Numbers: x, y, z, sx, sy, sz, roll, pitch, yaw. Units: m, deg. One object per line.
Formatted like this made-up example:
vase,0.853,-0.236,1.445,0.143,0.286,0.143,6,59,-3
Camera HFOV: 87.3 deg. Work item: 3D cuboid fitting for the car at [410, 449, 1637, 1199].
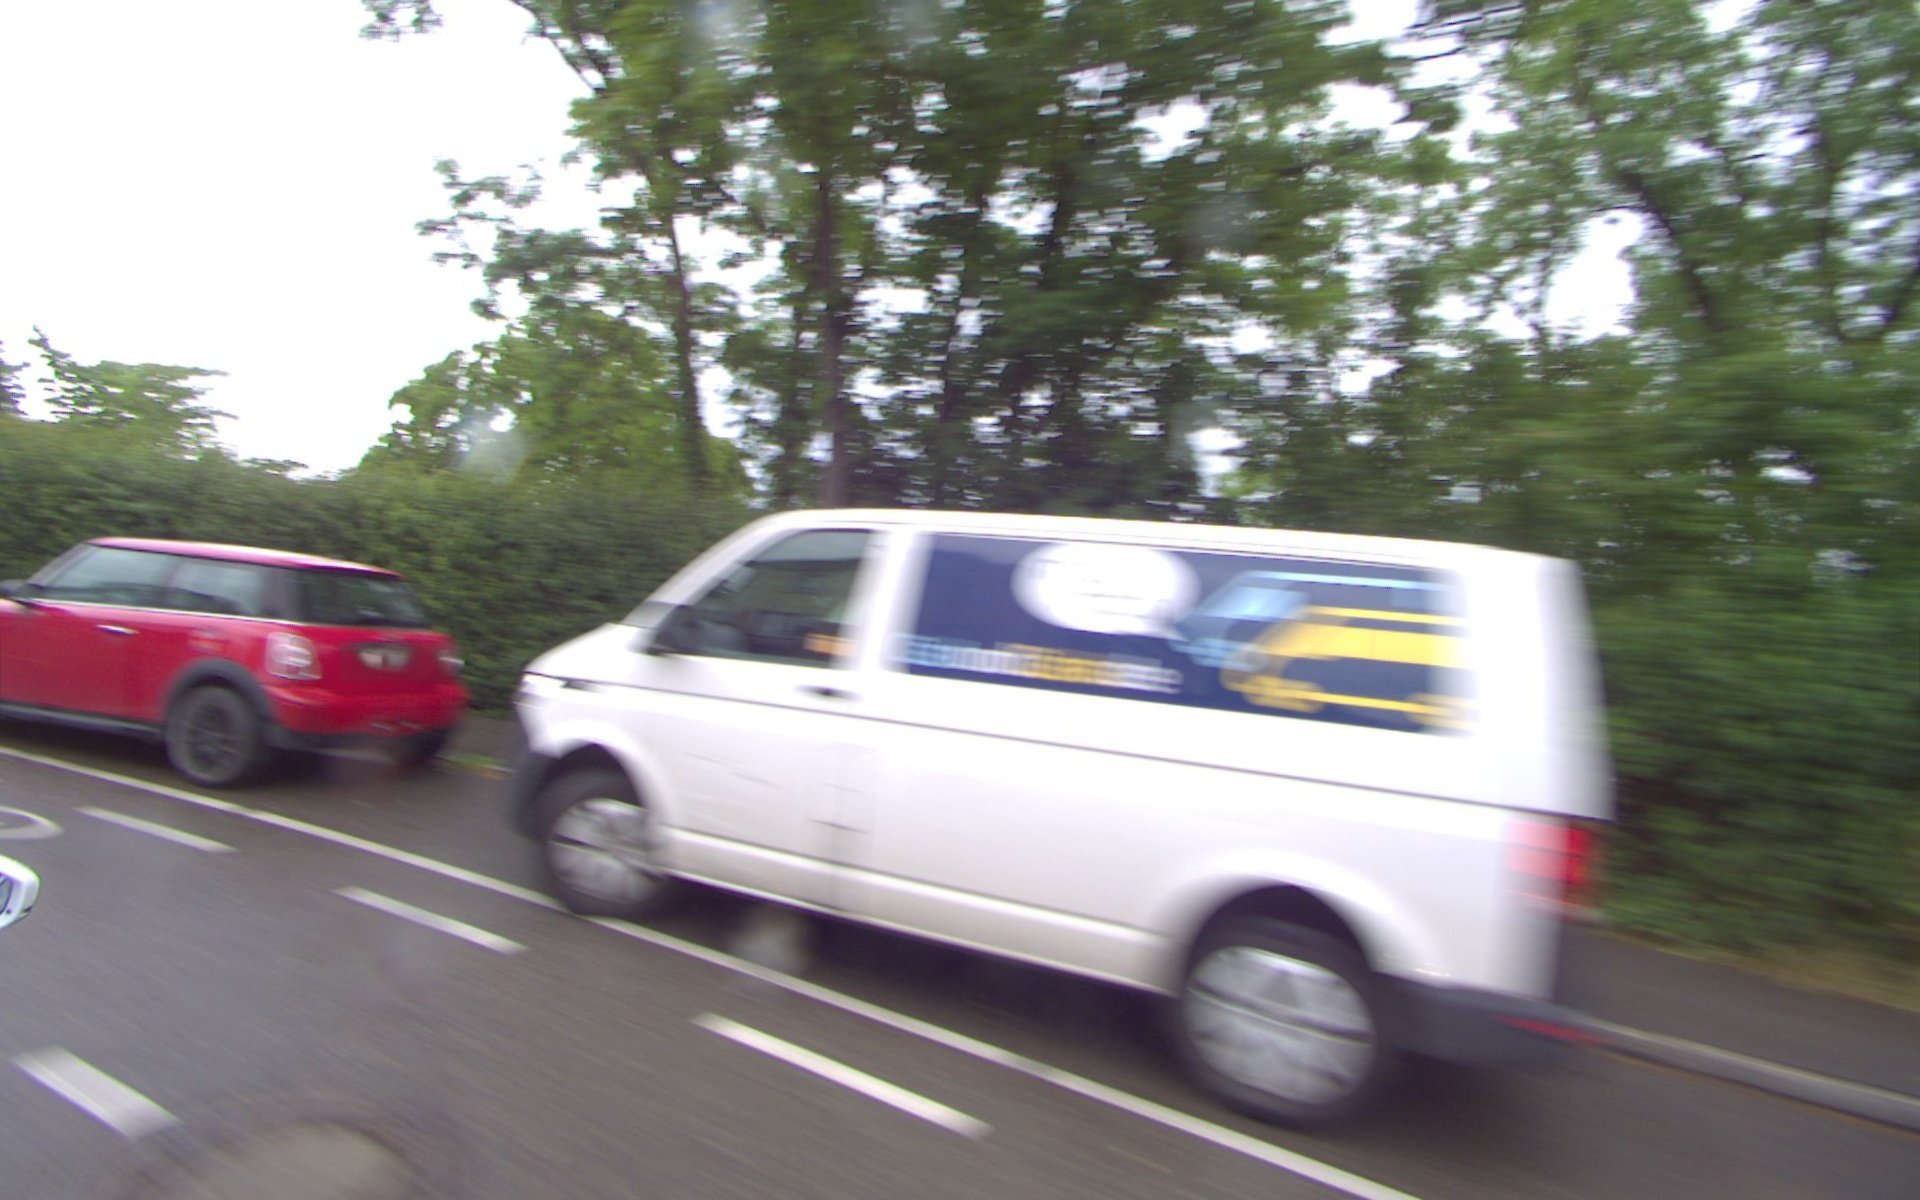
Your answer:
car,0.020,0.585,4.674,4.720,1.972,1.865,7,0,23

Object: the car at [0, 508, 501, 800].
car,-5.414,0.256,7.017,3.671,1.430,1.678,7,-1,15

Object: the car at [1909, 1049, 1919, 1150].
car,4.979,1.253,1.809,4.307,1.792,1.862,7,0,32

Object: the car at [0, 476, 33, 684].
car,-10.869,-0.523,8.600,4.806,1.803,2.035,7,-1,17
